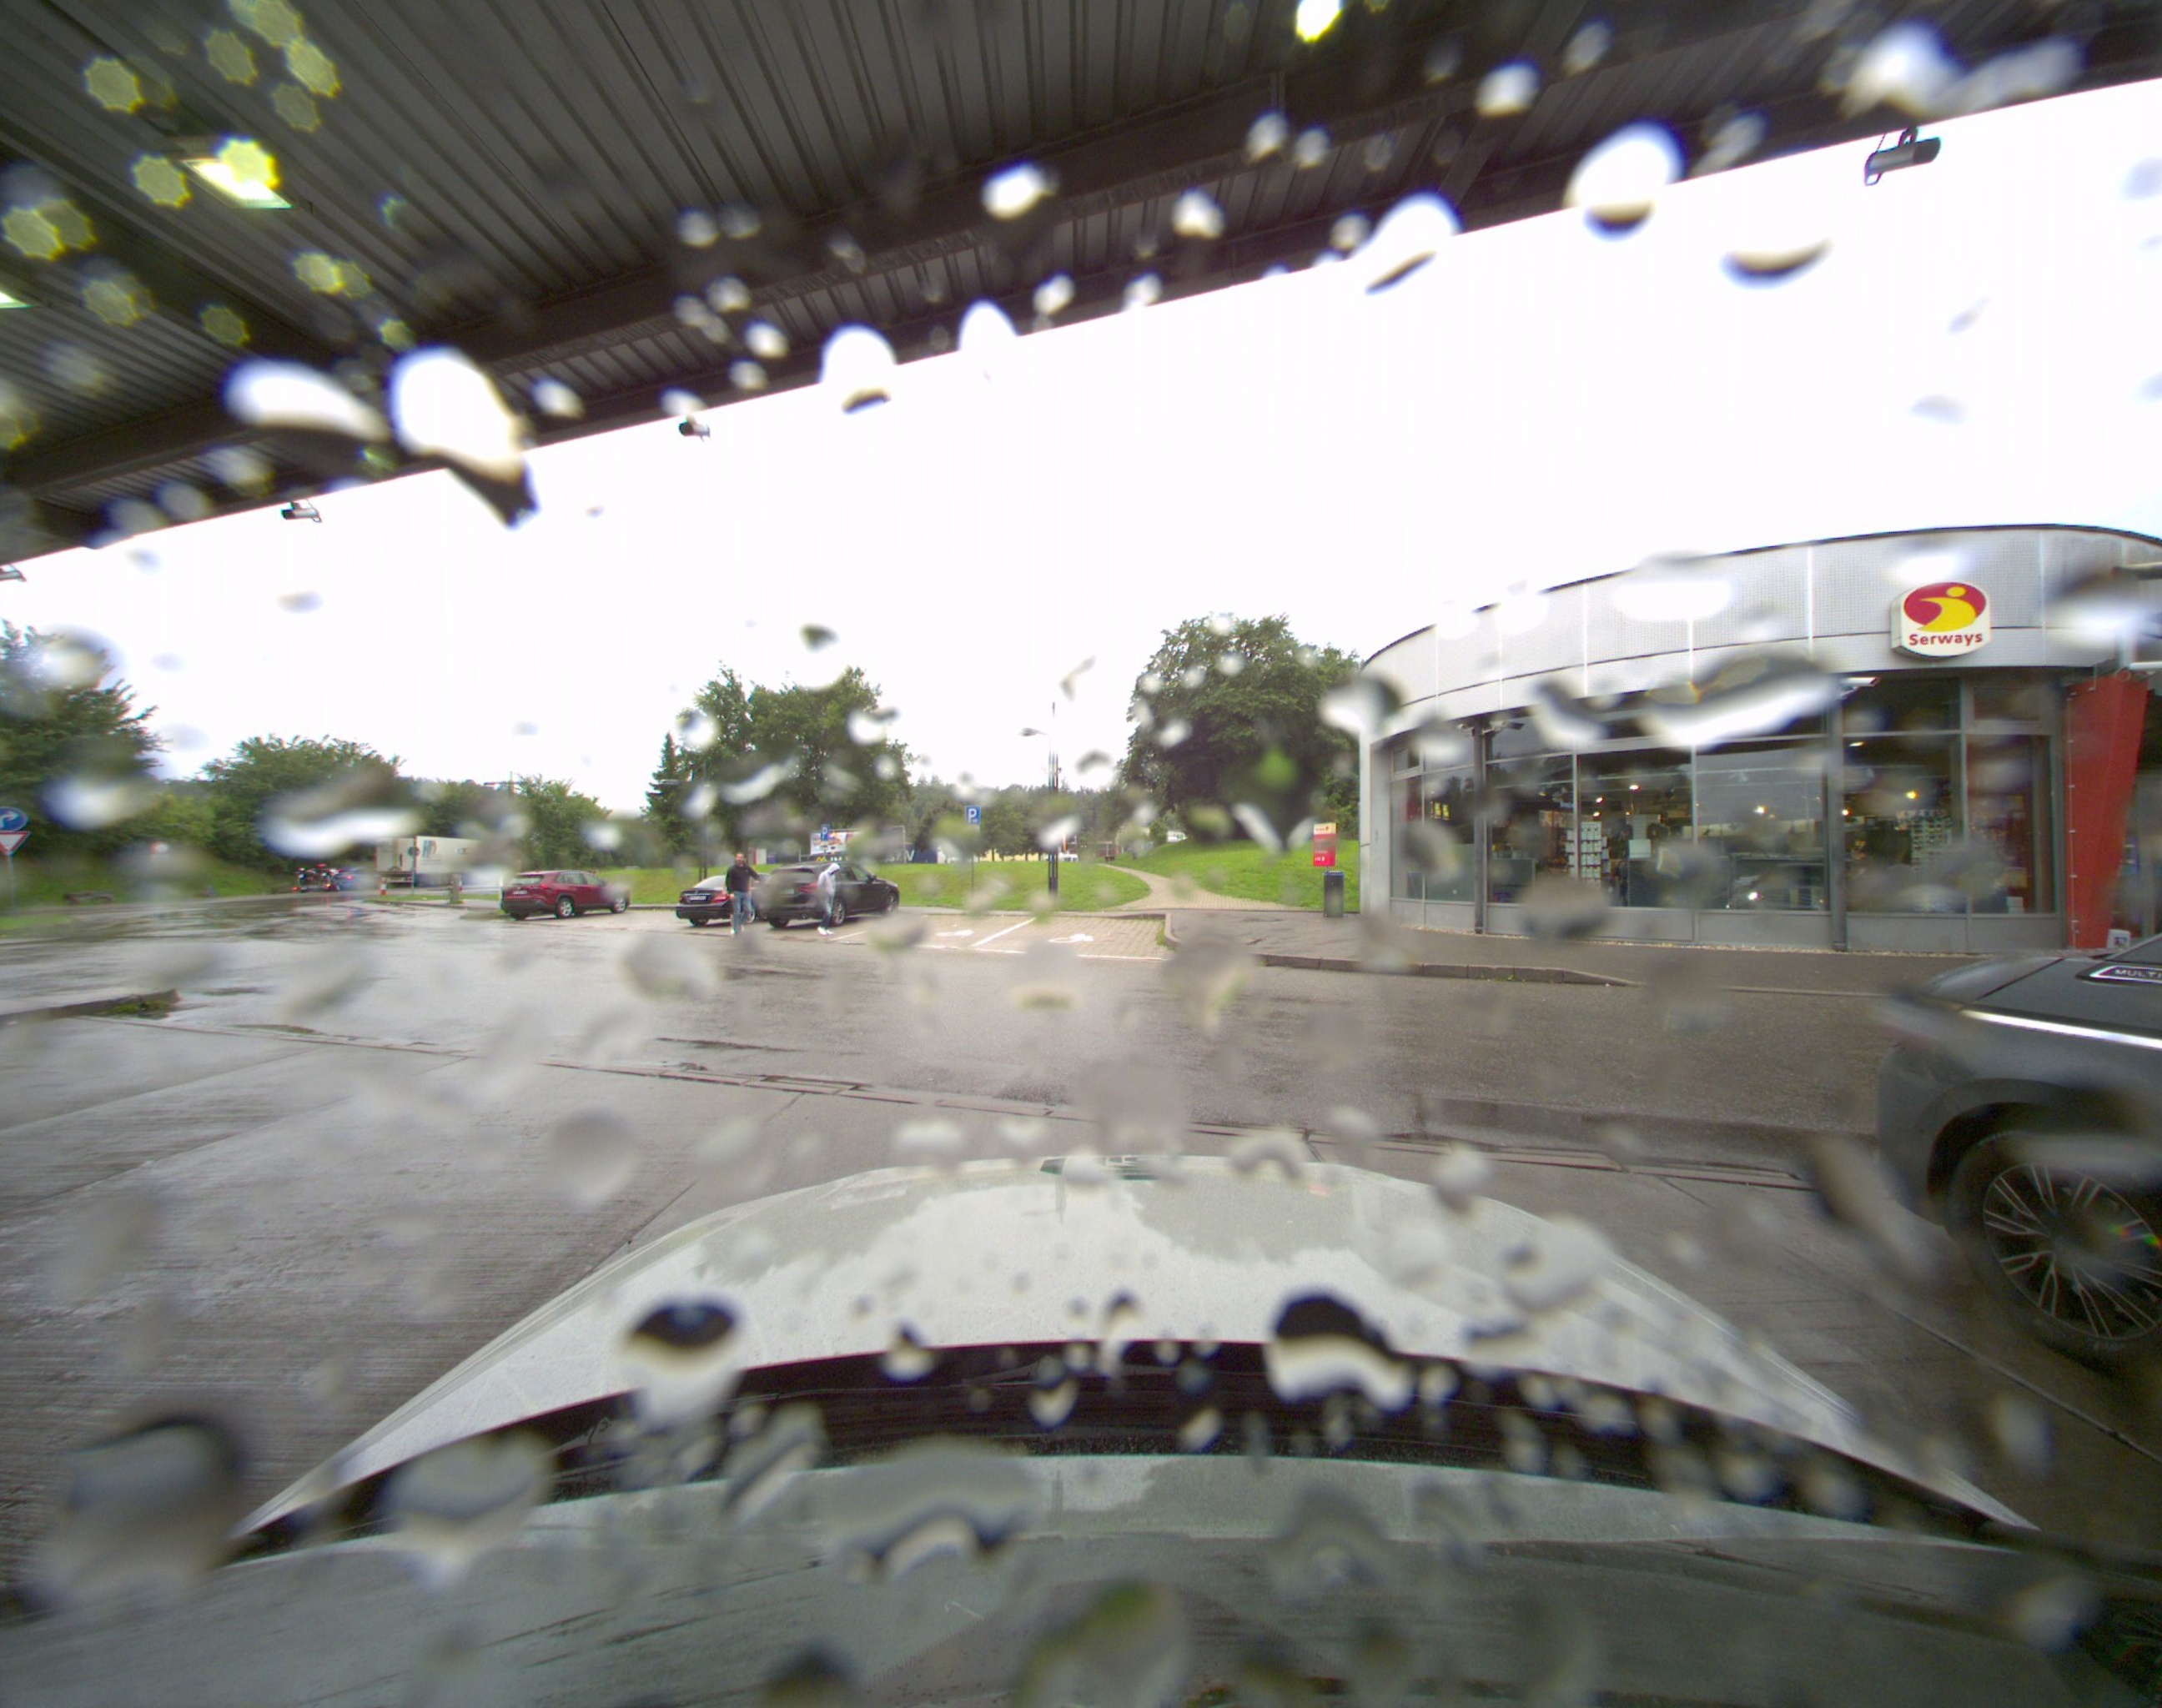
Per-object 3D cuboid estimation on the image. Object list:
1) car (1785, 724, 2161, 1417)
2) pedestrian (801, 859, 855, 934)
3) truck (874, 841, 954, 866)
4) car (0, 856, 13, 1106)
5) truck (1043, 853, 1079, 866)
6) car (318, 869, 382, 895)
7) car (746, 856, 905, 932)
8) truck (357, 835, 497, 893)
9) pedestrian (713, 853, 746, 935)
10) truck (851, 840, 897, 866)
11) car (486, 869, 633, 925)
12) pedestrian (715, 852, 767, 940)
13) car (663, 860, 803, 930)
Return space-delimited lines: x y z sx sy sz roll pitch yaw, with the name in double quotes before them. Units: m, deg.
"car" 3.678 0.544 0.675 1.854 1.798 5.142 0 -1 2
"pedestrian" -5.715 0.939 18.397 0.942 1.631 0.708 -1 -1 26
"truck" -20.749 -0.057 102.344 2.165 2.920 13.175 -1 -1 26
"car" -7.964 0.804 2.673 1.854 1.608 5.273 0 0 2
"truck" -3.245 0.872 134.102 5.356 2.014 2.381 -1 -1 26
"car" -50.340 1.882 56.170 1.814 1.681 3.927 0 -1 -18
"car" -6.645 0.972 21.777 2.002 1.711 4.360 -2 0 14
"truck" -55.441 0.842 69.974 3.550 4.340 16.899 0 -1 -18
"pedestrian" -8.332 0.928 19.287 0.705 1.887 0.946 0 -1 -25
"truck" -24.182 -0.088 95.452 2.165 2.920 5.419 -1 -1 27
"car" -18.133 1.443 28.589 1.928 1.644 4.352 -2 0 7
"pedestrian" -7.512 0.908 18.010 0.882 1.887 0.708 -1 -1 37
"car" -9.831 1.083 23.421 2.010 1.711 4.344 -2 0 1
